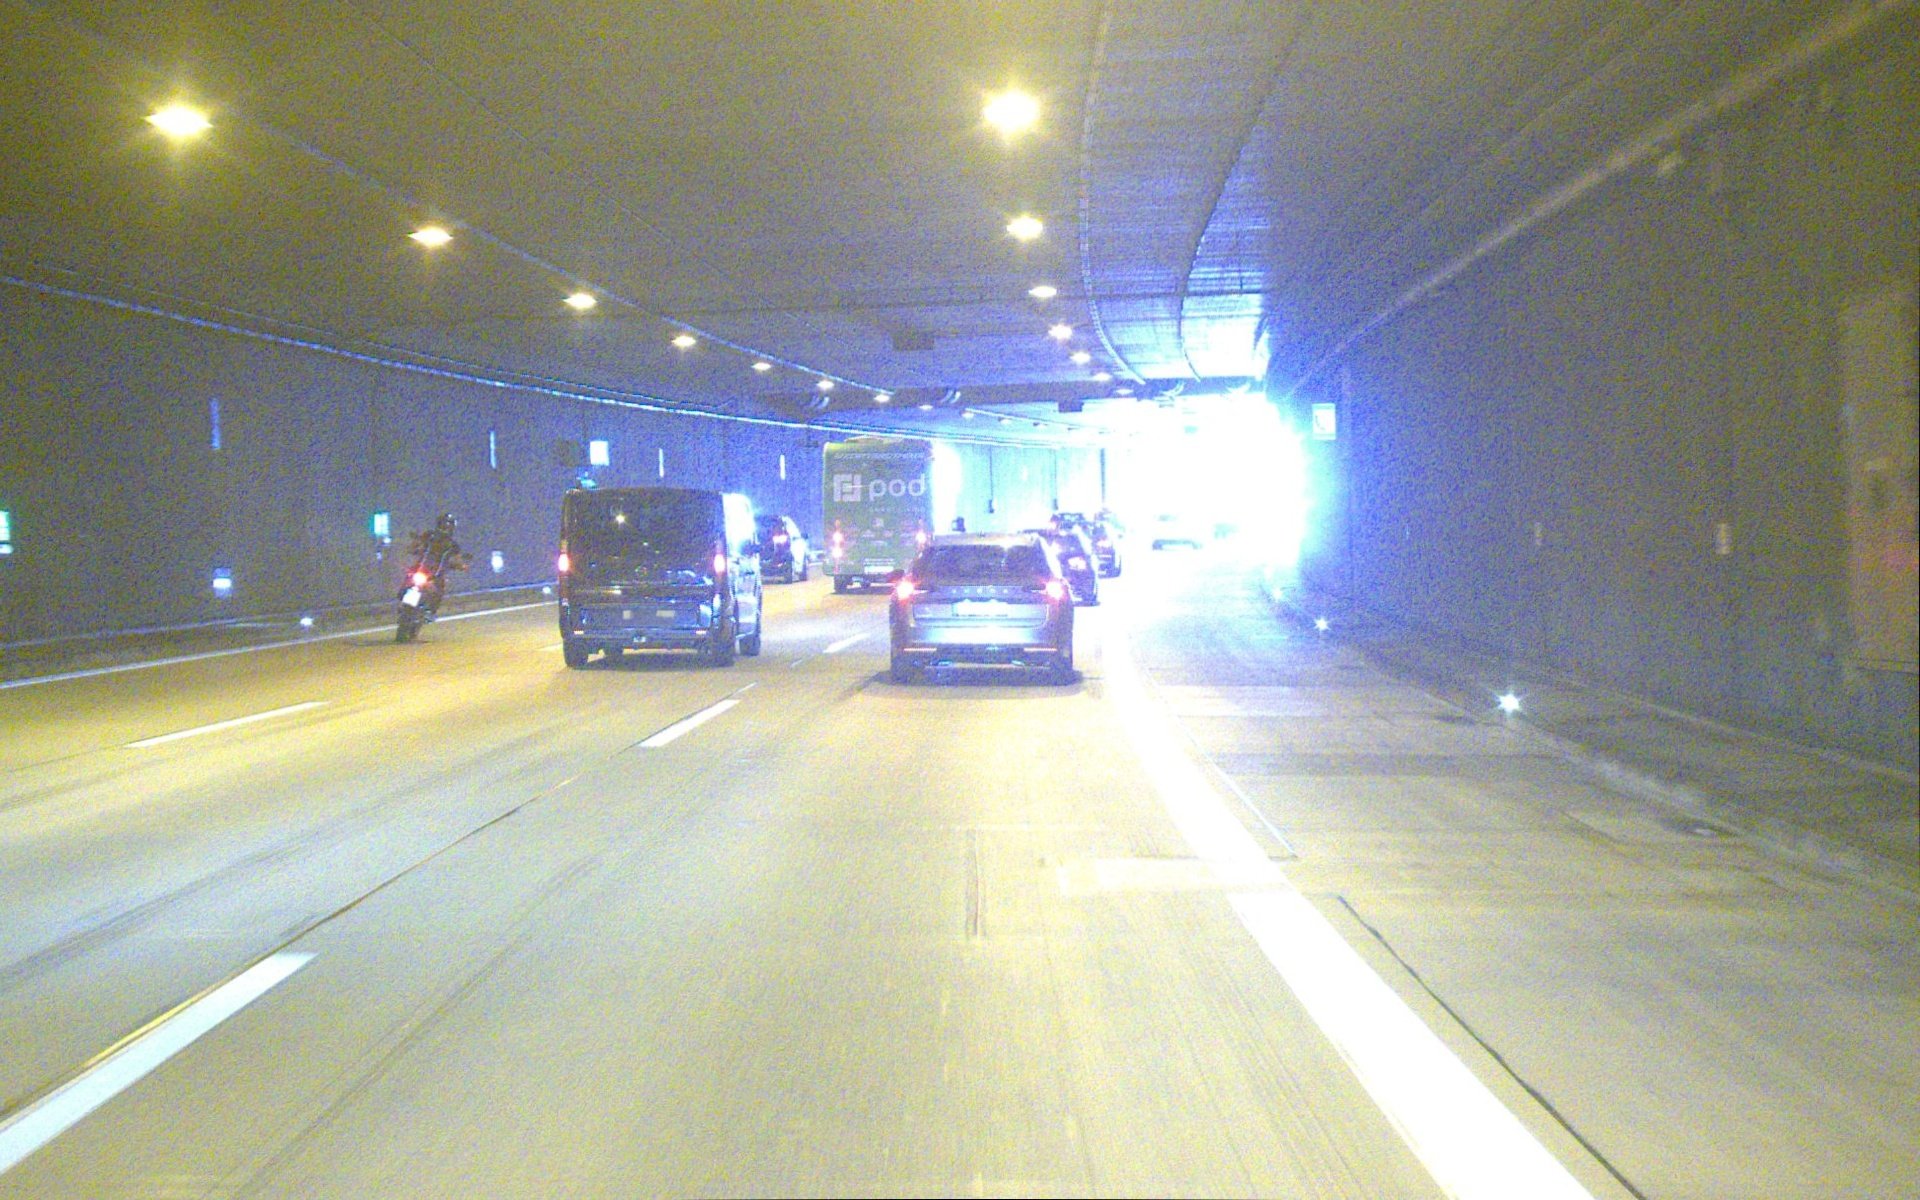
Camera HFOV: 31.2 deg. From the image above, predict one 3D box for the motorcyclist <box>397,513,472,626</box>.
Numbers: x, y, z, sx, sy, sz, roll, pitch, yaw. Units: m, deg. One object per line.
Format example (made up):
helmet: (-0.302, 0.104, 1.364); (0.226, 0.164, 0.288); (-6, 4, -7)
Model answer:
motorcyclist: (-6.867, -0.394, 44.939); (0.777, 1.448, 1.069); (0, -1, 2)

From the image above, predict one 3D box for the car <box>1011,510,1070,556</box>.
car: (3.020, -2.490, 128.117); (1.994, 1.626, 3.999); (1, 0, 4)

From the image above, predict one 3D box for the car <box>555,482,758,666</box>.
car: (-3.327, -0.339, 38.292); (1.909, 1.937, 3.871); (0, 2, 0)

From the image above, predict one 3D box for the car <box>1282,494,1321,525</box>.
car: (18.563, -4.887, 186.577); (1.931, 1.637, 3.999); (-1, 1, 8)

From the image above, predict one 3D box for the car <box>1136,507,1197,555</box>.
car: (7.676, -2.547, 128.023); (1.930, 1.637, 4.000); (0, -1, -1)

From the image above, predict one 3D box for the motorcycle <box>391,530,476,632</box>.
motorcycle: (-6.868, -0.239, 44.949); (0.683, 1.292, 2.398); (0, 0, 2)

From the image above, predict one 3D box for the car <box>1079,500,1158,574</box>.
car: (4.035, -1.581, 88.007); (1.950, 1.766, 3.999); (0, -1, 2)

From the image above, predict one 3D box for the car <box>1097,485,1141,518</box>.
car: (7.981, -4.913, 172.094); (1.931, 1.637, 3.999); (0, 1, 6)

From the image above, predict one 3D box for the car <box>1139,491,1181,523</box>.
car: (11.226, -5.203, 192.561); (1.931, 1.637, 3.998); (0, -1, 9)

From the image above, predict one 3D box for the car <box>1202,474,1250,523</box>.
car: (12.023, -4.573, 155.479); (1.994, 2.007, 3.999); (0, -1, 2)

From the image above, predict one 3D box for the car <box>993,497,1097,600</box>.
car: (1.611, -0.970, 63.978); (1.857, 1.848, 4.000); (0, 1, 2)

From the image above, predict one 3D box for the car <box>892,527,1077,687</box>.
car: (0.263, 0.026, 34.292); (1.742, 1.459, 3.871); (0, 2, 1)

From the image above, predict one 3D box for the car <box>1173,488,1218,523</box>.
car: (11.933, -4.773, 173.884); (1.994, 1.626, 3.998); (0, -1, 8)

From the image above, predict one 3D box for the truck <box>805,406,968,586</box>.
truck: (-1.504, -2.198, 74.074); (3.039, 3.660, 7.392); (0, 1, 2)
